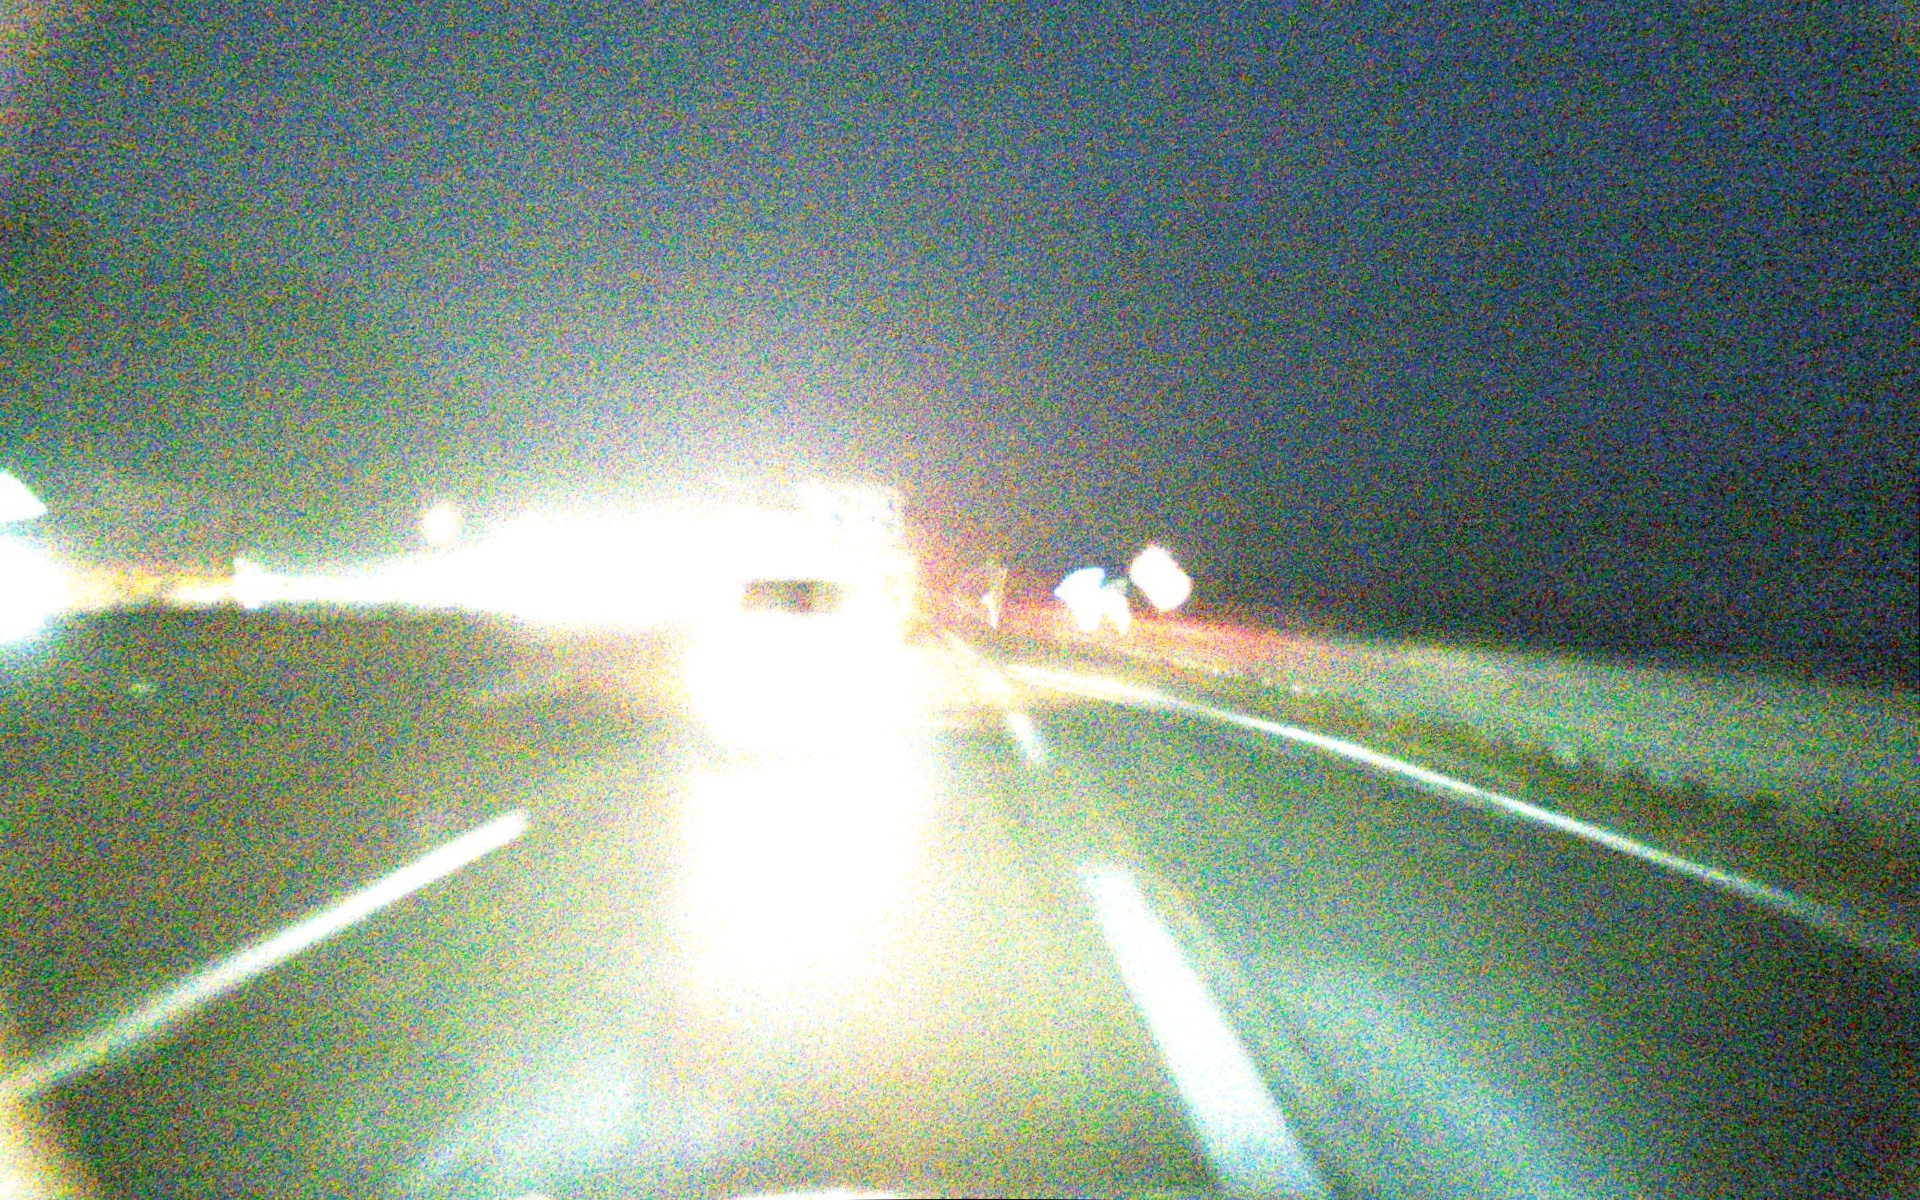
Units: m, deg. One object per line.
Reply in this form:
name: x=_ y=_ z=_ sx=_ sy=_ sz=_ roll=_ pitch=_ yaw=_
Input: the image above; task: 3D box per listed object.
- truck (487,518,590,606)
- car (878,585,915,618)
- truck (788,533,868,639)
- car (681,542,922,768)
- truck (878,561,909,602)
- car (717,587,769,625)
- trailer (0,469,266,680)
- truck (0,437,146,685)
truck: x=-28.314 y=-2.470 z=111.709 sx=4.255 sy=5.229 sz=11.023 roll=5 pitch=0 yaw=-3
car: x=-3.615 y=0.104 z=92.986 sx=1.954 sy=1.736 sz=4.192 roll=2 pitch=0 yaw=-3
truck: x=-7.524 y=-0.752 z=96.097 sx=4.084 sy=5.641 sz=13.066 roll=2 pitch=0 yaw=-3
car: x=-1.378 y=0.468 z=16.329 sx=1.913 sy=1.823 sz=5.123 roll=2 pitch=0 yaw=-1
truck: x=-8.812 y=-2.355 z=217.296 sx=3.748 sy=5.001 sz=11.598 roll=2 pitch=0 yaw=-3
car: x=-11.135 y=0.309 z=85.124 sx=1.953 sy=1.736 sz=4.196 roll=4 pitch=0 yaw=1
trailer: x=-26.203 y=-0.697 z=50.637 sx=4.083 sy=5.540 sz=13.744 roll=2 pitch=0 yaw=-1
truck: x=-26.114 y=-1.030 z=45.037 sx=4.082 sy=6.235 sz=7.343 roll=2 pitch=0 yaw=-1
